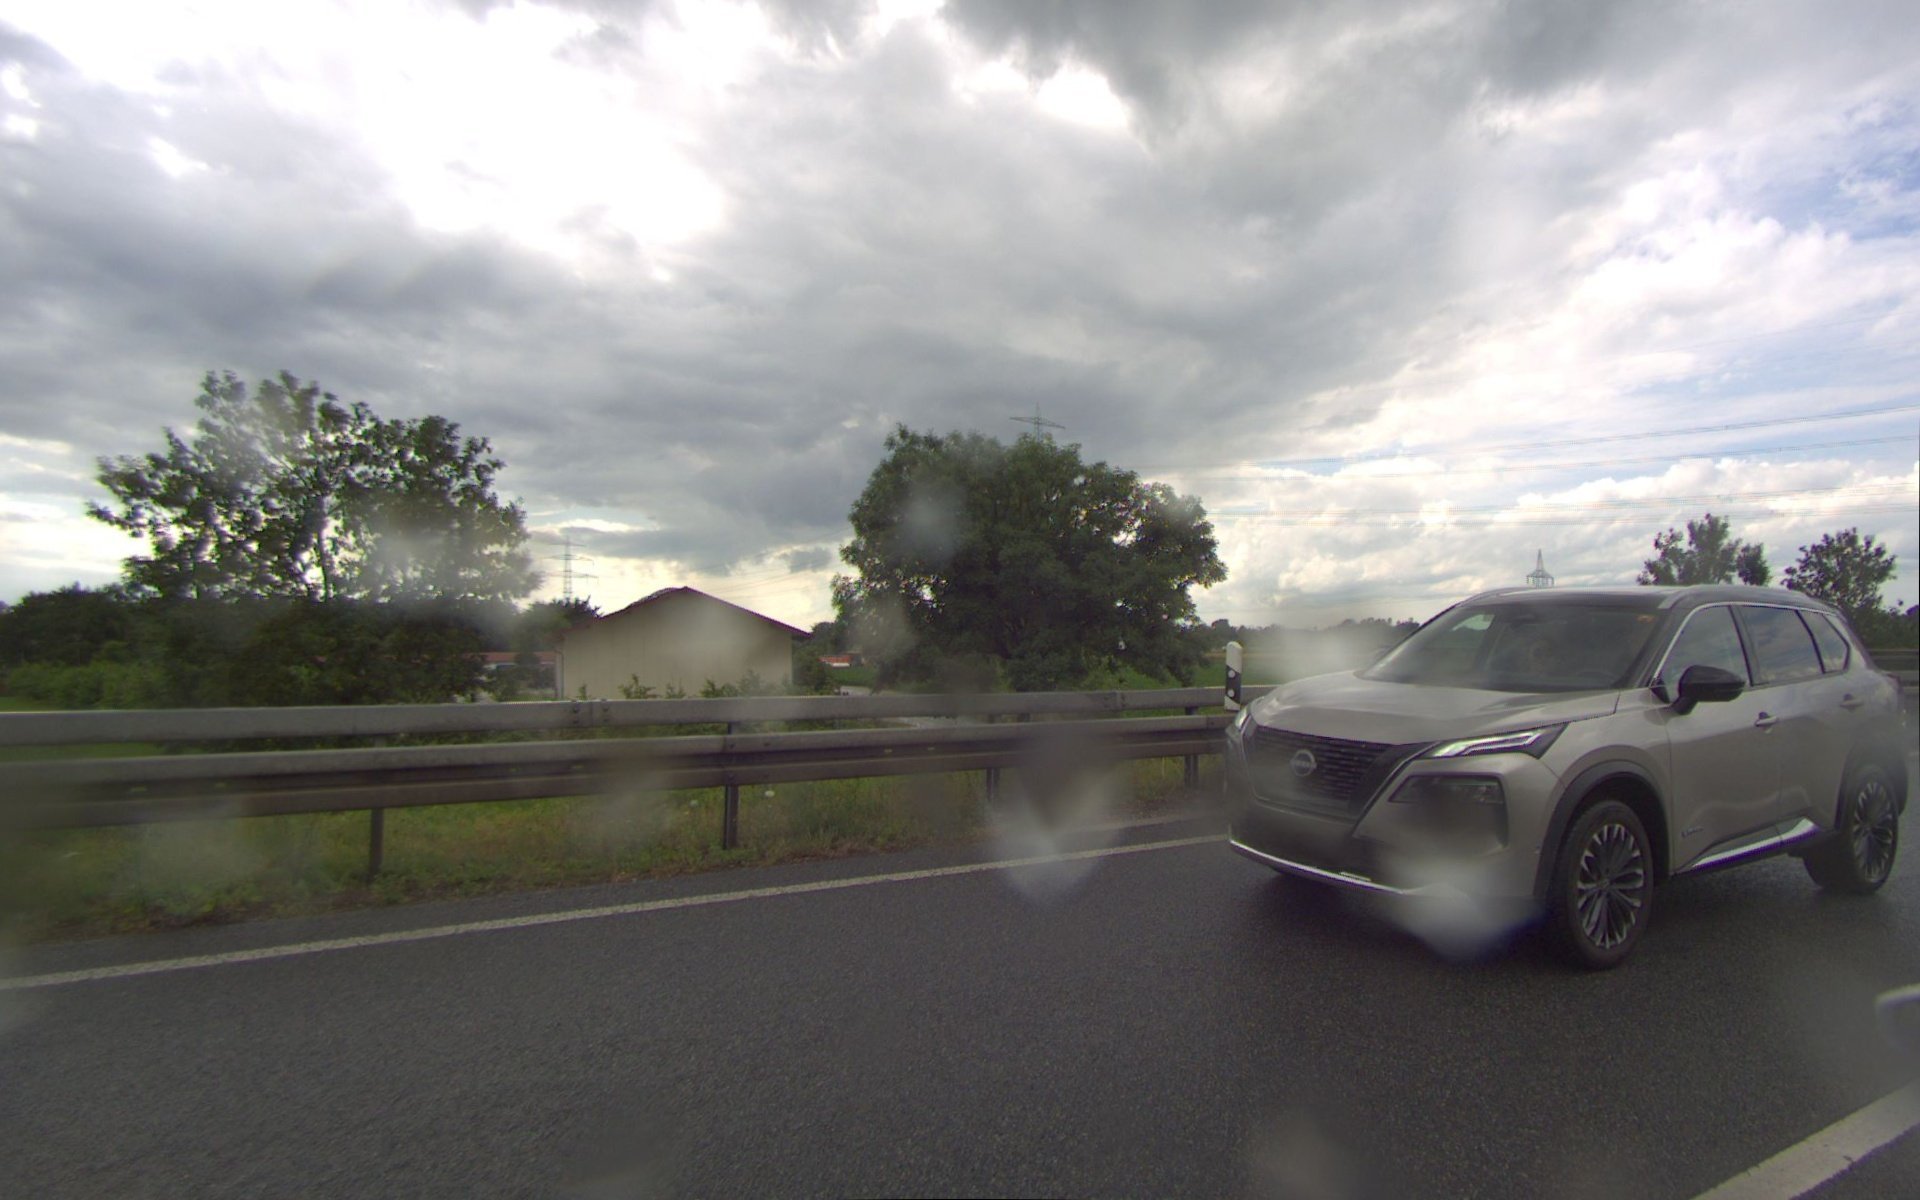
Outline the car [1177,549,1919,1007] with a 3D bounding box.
[{"bbox_3d":[3.495,0.694,5.676,4.337,1.723,1.832,1,0,-30],"label":"car"}]
